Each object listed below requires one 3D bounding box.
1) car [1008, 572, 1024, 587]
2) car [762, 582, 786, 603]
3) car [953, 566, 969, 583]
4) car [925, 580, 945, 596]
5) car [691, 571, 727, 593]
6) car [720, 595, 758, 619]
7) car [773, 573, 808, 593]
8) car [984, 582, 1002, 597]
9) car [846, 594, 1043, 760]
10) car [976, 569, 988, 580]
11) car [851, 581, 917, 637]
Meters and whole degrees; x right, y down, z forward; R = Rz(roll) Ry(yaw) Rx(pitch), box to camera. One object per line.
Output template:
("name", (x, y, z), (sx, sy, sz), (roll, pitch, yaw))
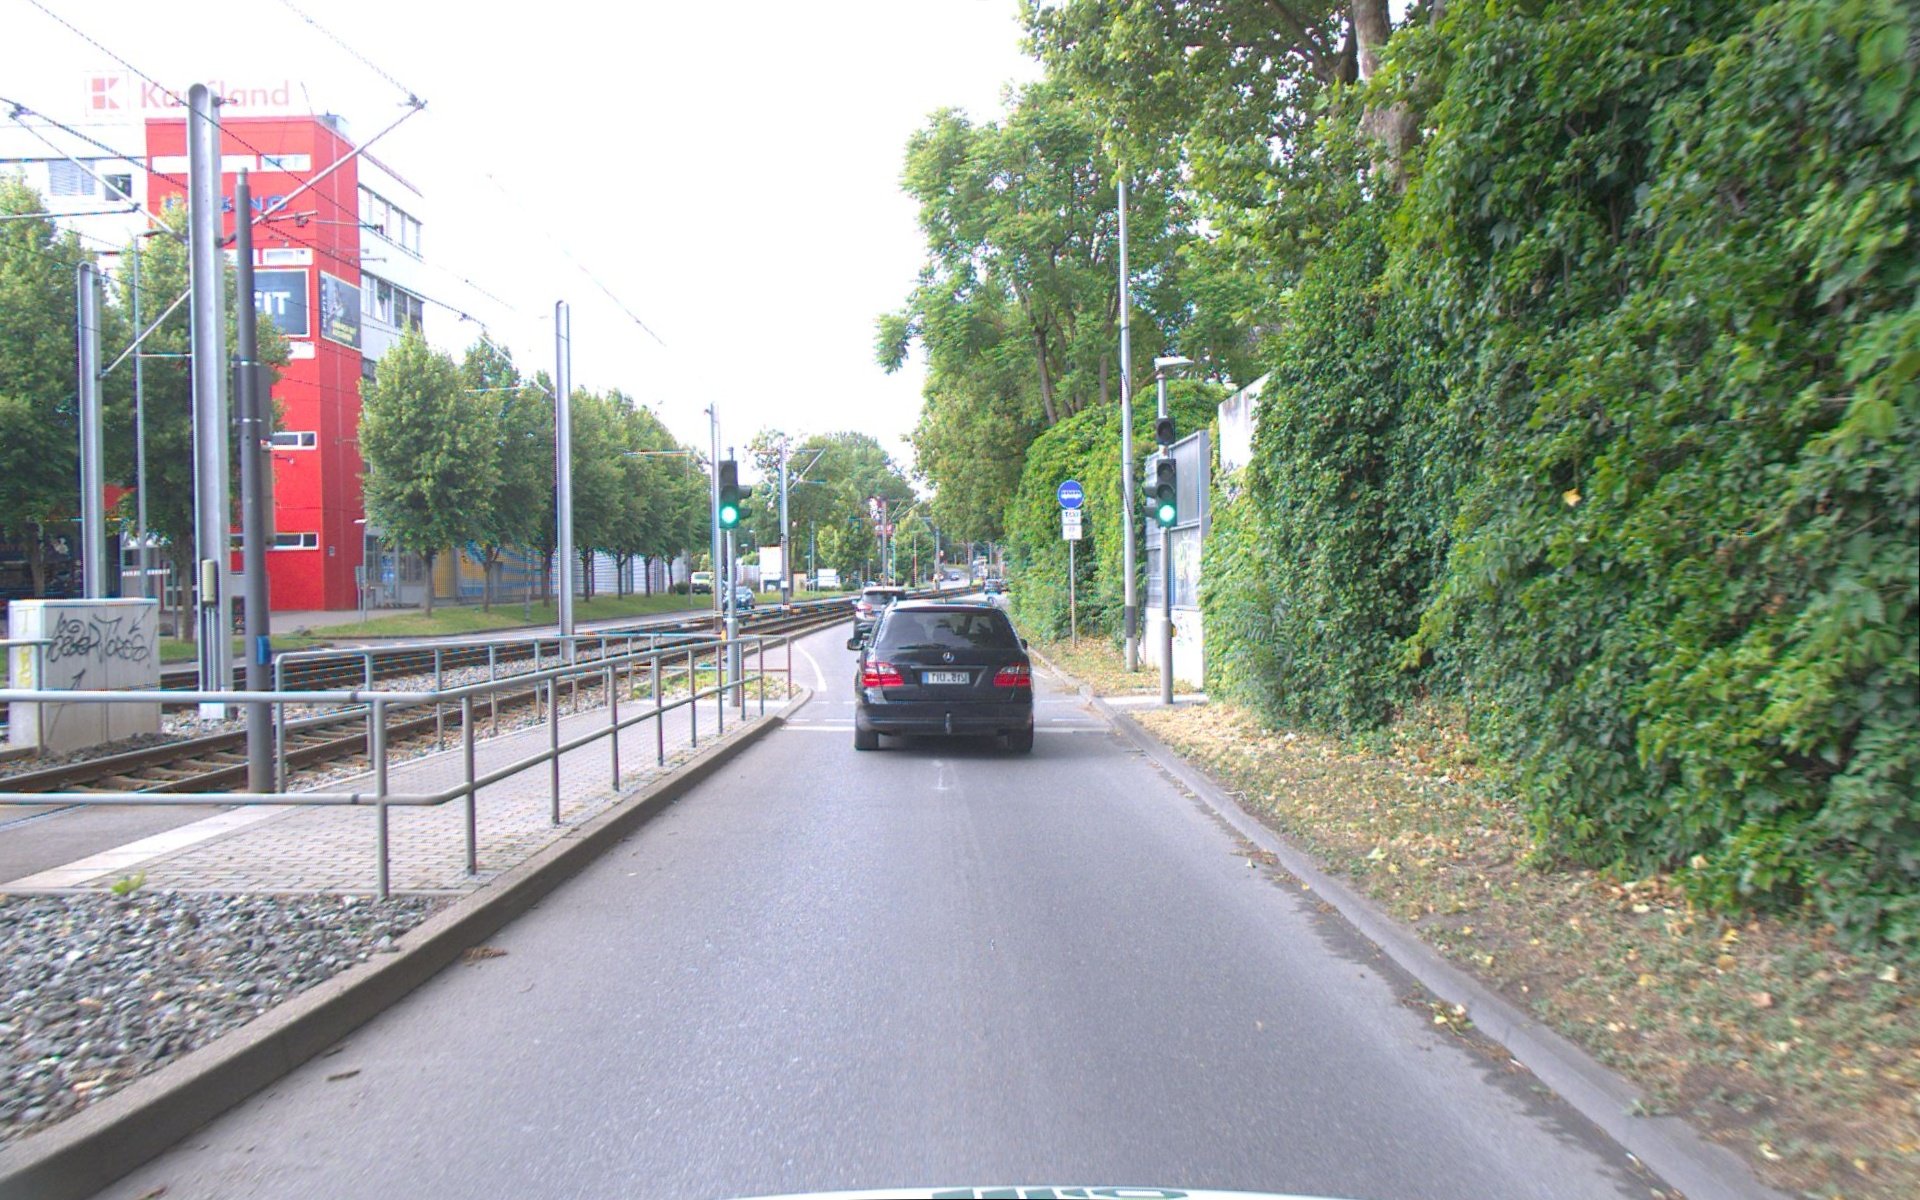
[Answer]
("car", (6.189, -2.270, 183.647), (1.787, 1.556, 4.180), (0, 1, 1))
("car", (-19.360, -0.766, 171.967), (1.953, 2.048, 4.000), (-3, 1, 0))
("car", (0.156, -3.185, 205.915), (1.853, 2.048, 3.898), (-3, 1, 0))
("car", (-2.395, -1.201, 161.089), (1.787, 1.556, 3.987), (0, 1, 1))
("car", (-21.333, -1.563, 140.964), (1.952, 1.773, 4.990), (-2, 1, 4))
("car", (-14.199, 0.447, 106.318), (1.624, 1.417, 3.721), (-1, 0, 5))
("car", (-19.690, -1.947, 192.015), (3.910, 2.160, 1.998), (-3, 0, -5))
("car", (3.432, -1.079, 169.699), (1.787, 1.556, 4.417), (-1, 0, 2))
("car", (-0.118, 0.711, 17.324), (1.795, 1.504, 4.416), (0, 0, 1))
("car", (3.223, -3.780, 243.601), (1.787, 1.556, 4.180), (0, 1, 1))
("car", (-2.227, 0.240, 49.199), (1.788, 1.556, 4.415), (0, 1, -1))
